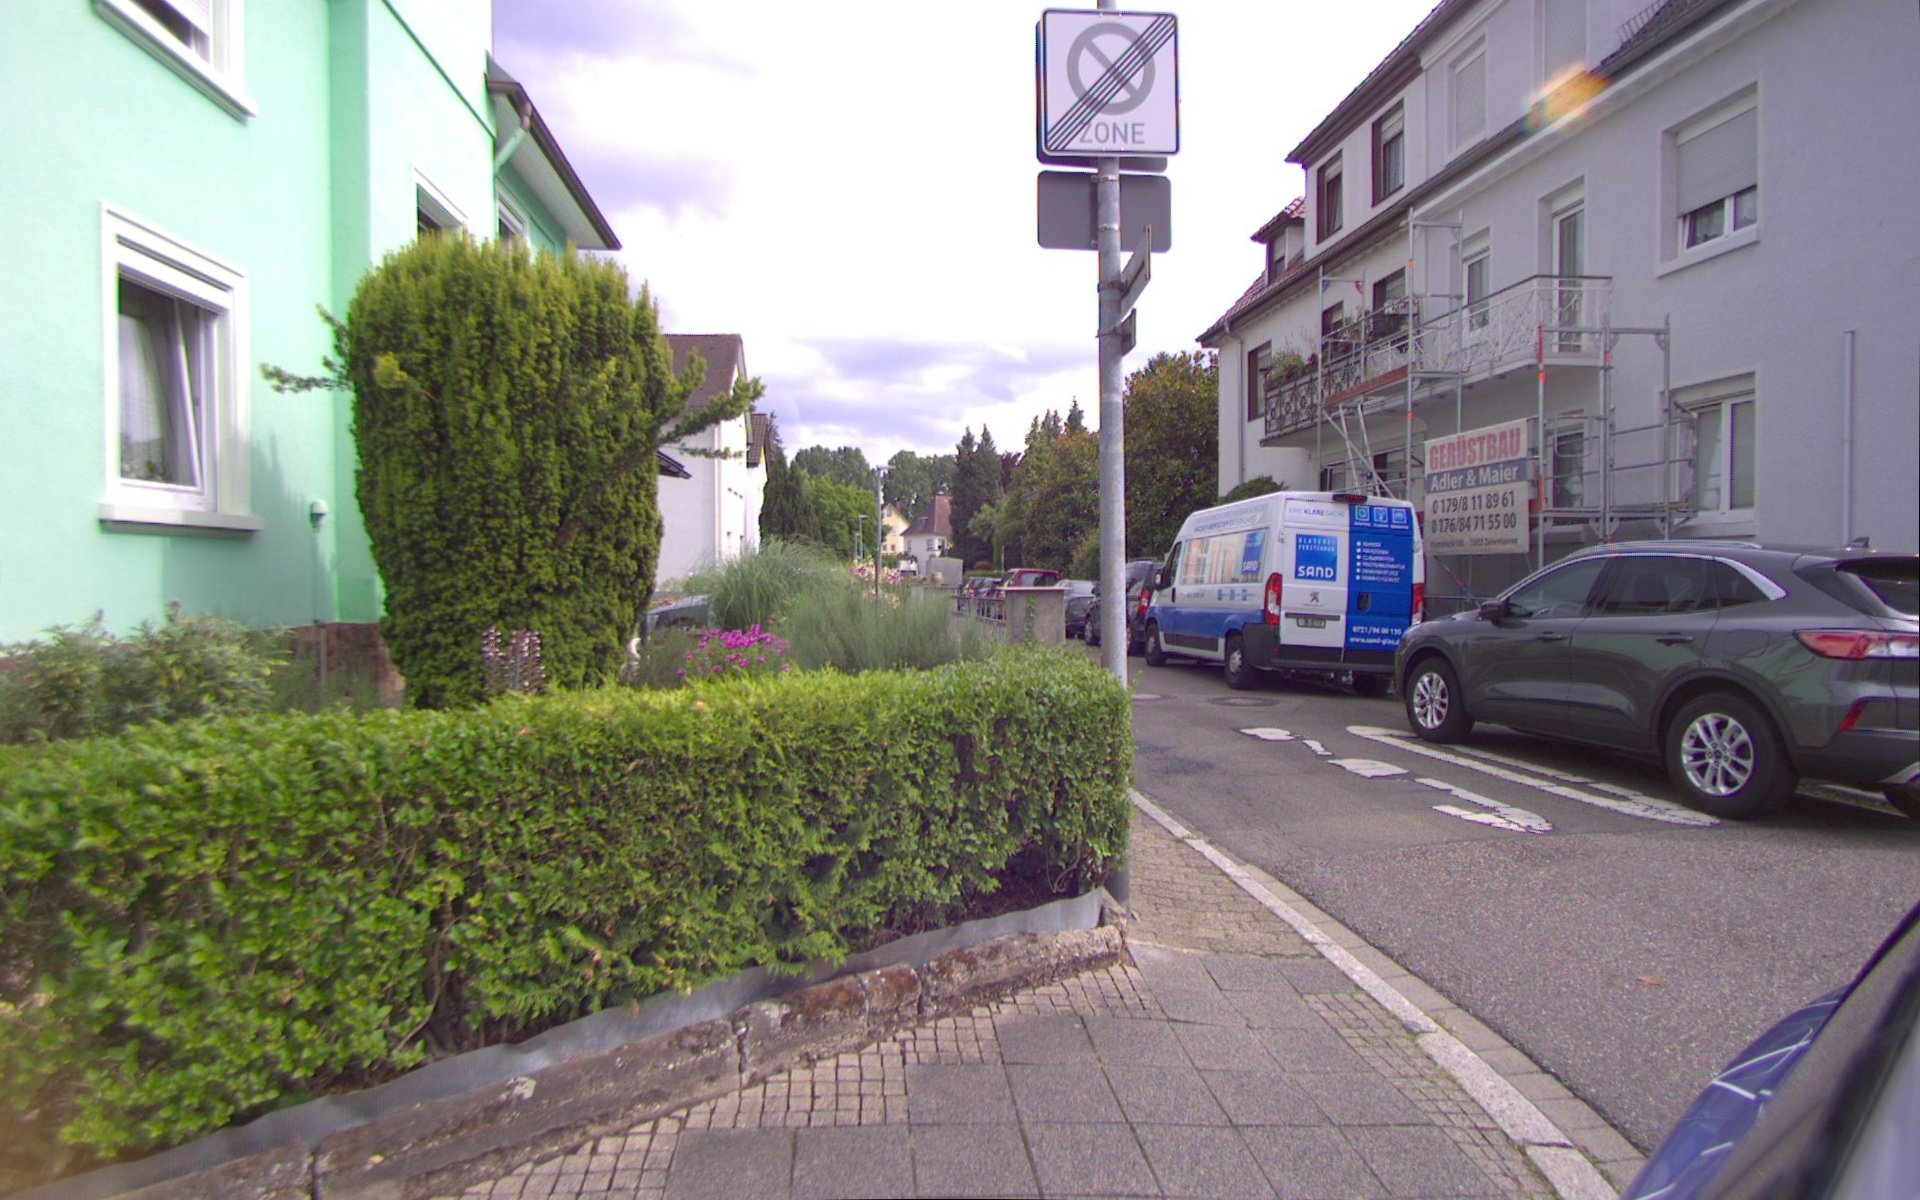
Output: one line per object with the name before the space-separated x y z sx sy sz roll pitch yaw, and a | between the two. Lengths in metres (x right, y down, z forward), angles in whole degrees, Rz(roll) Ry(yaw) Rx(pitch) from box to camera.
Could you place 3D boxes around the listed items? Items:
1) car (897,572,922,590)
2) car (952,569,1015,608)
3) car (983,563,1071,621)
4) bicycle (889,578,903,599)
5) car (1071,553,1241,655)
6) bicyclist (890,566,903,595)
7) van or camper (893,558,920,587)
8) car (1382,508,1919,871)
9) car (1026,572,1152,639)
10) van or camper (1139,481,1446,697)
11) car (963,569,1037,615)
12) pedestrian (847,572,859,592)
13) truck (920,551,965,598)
car | -4.031 -1.533 80.615 1.790 1.393 4.005 -1 2 -5
car | 0.949 -0.543 43.949 1.959 1.611 4.350 -1 2 -9
car | 2.103 -0.316 33.086 1.959 1.771 4.350 -1 2 -9
bicycle | -3.705 -0.664 58.767 0.693 1.166 1.876 -1 1 -7
car | 3.739 -0.008 20.202 1.959 1.794 4.350 -1 2 -9
bicyclist | -3.709 -1.136 58.816 0.685 1.687 0.976 -2 1 -6
van or camper | -4.951 -2.526 93.007 2.105 2.572 5.022 -1 2 -6
car | 5.132 0.355 7.162 1.959 1.748 4.350 -1 2 -9
car | 3.092 0.060 25.231 1.959 1.473 4.350 -1 2 -9
van or camper | 4.346 -0.217 14.314 2.154 2.489 5.062 -1 2 -7
car | 1.427 -0.352 38.113 1.959 1.611 4.350 -1 2 -9
pedestrian | -7.174 -1.185 67.830 0.650 1.340 0.756 0 1 -13
truck | -1.080 -1.553 60.658 2.093 2.690 4.592 -1 2 -8
